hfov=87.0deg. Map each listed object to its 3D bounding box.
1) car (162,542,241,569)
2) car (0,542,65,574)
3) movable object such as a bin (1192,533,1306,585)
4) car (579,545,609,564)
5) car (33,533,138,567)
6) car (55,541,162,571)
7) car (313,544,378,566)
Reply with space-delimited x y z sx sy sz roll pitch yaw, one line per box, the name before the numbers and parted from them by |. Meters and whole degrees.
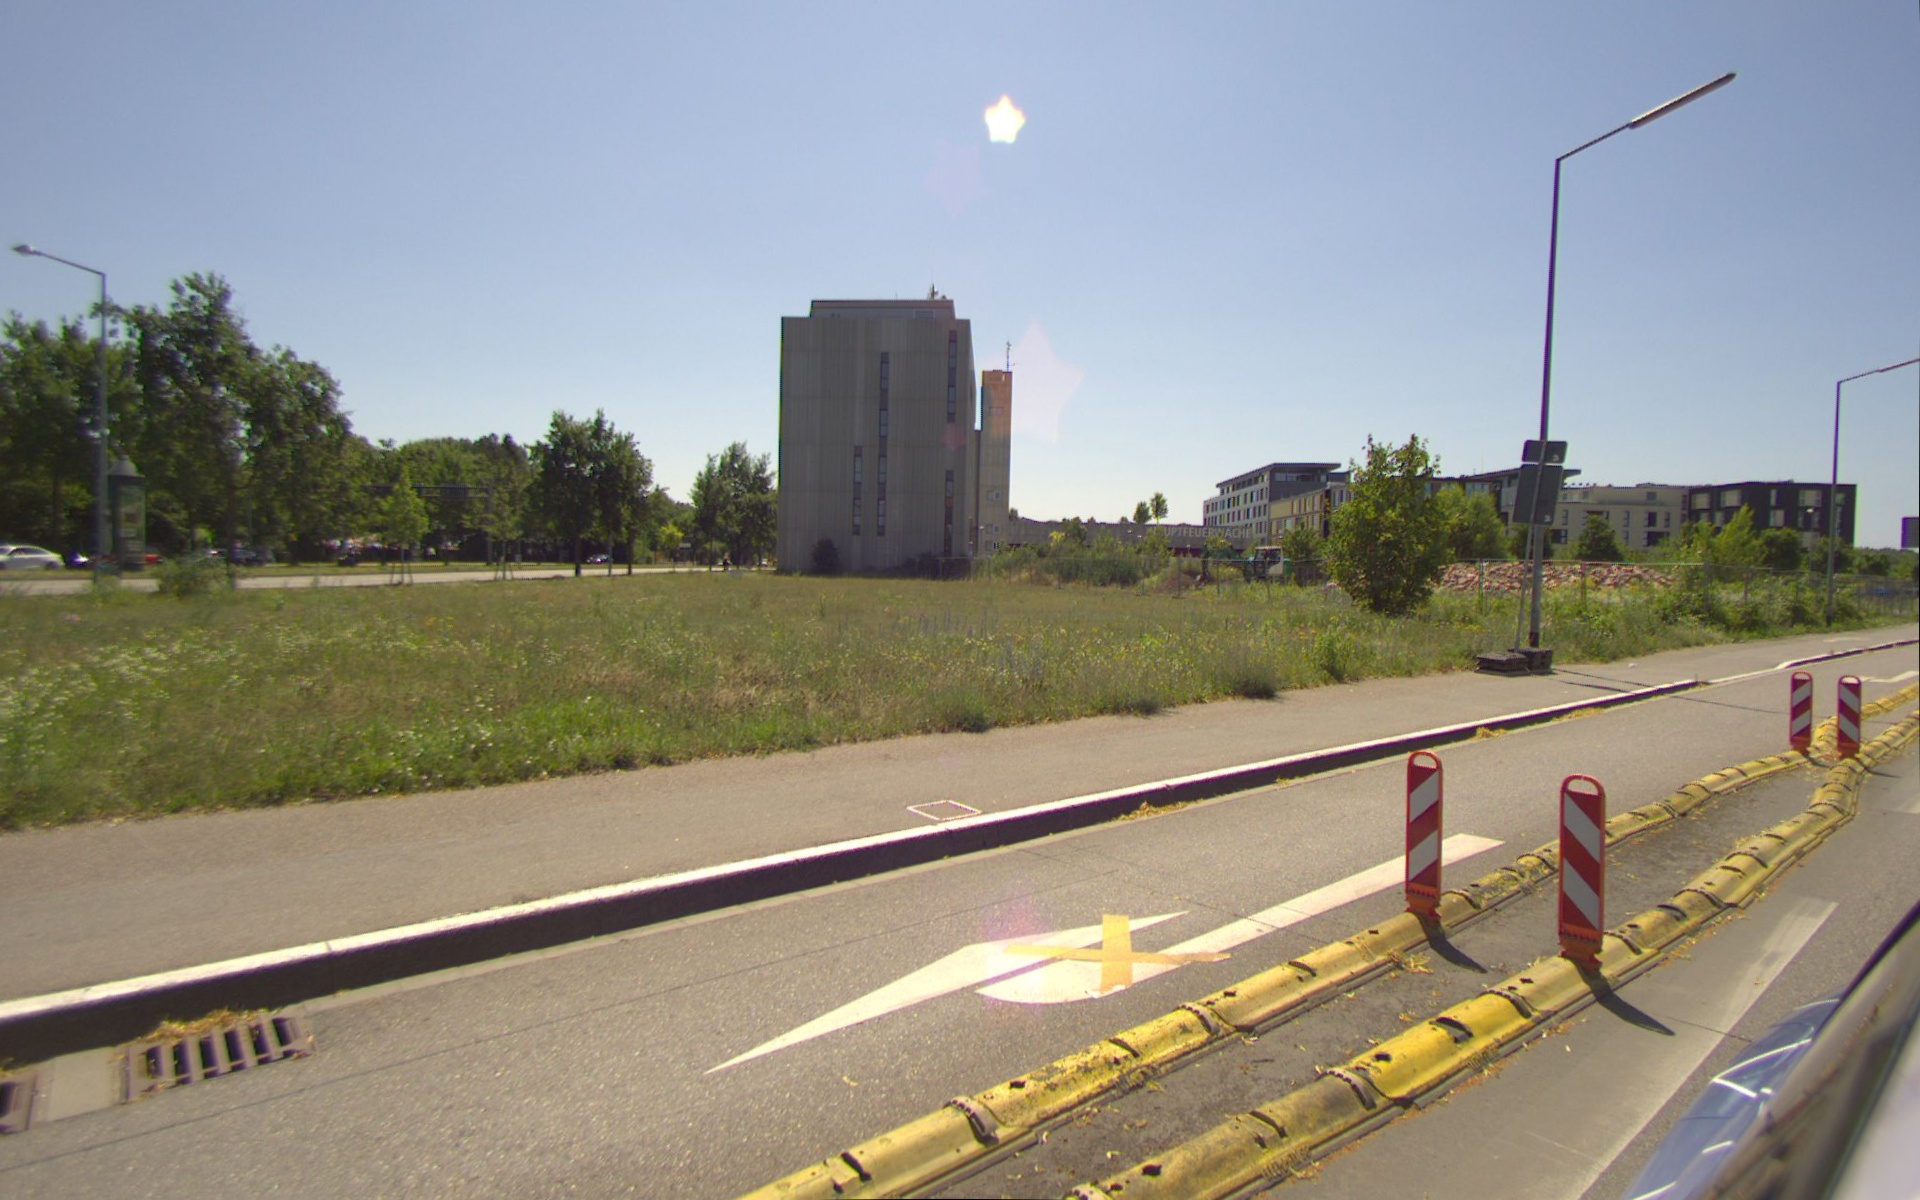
car | -44.216 -2.580 59.087 1.689 1.493 3.796 0 1 1
car | -44.717 -1.985 47.286 1.830 1.440 4.406 1 2 3
movable object such as a bin | 18.603 -2.592 64.935 7.457 3.188 2.816 -1 1 -33
car | -42.467 -5.278 117.395 1.963 2.039 3.999 0 1 1
car | -47.537 -2.687 55.122 1.830 1.704 4.406 1 2 3
car | -44.708 -2.296 53.248 1.830 1.440 4.406 1 2 3
car | -43.872 -3.180 72.369 1.830 1.440 4.406 1 2 3
